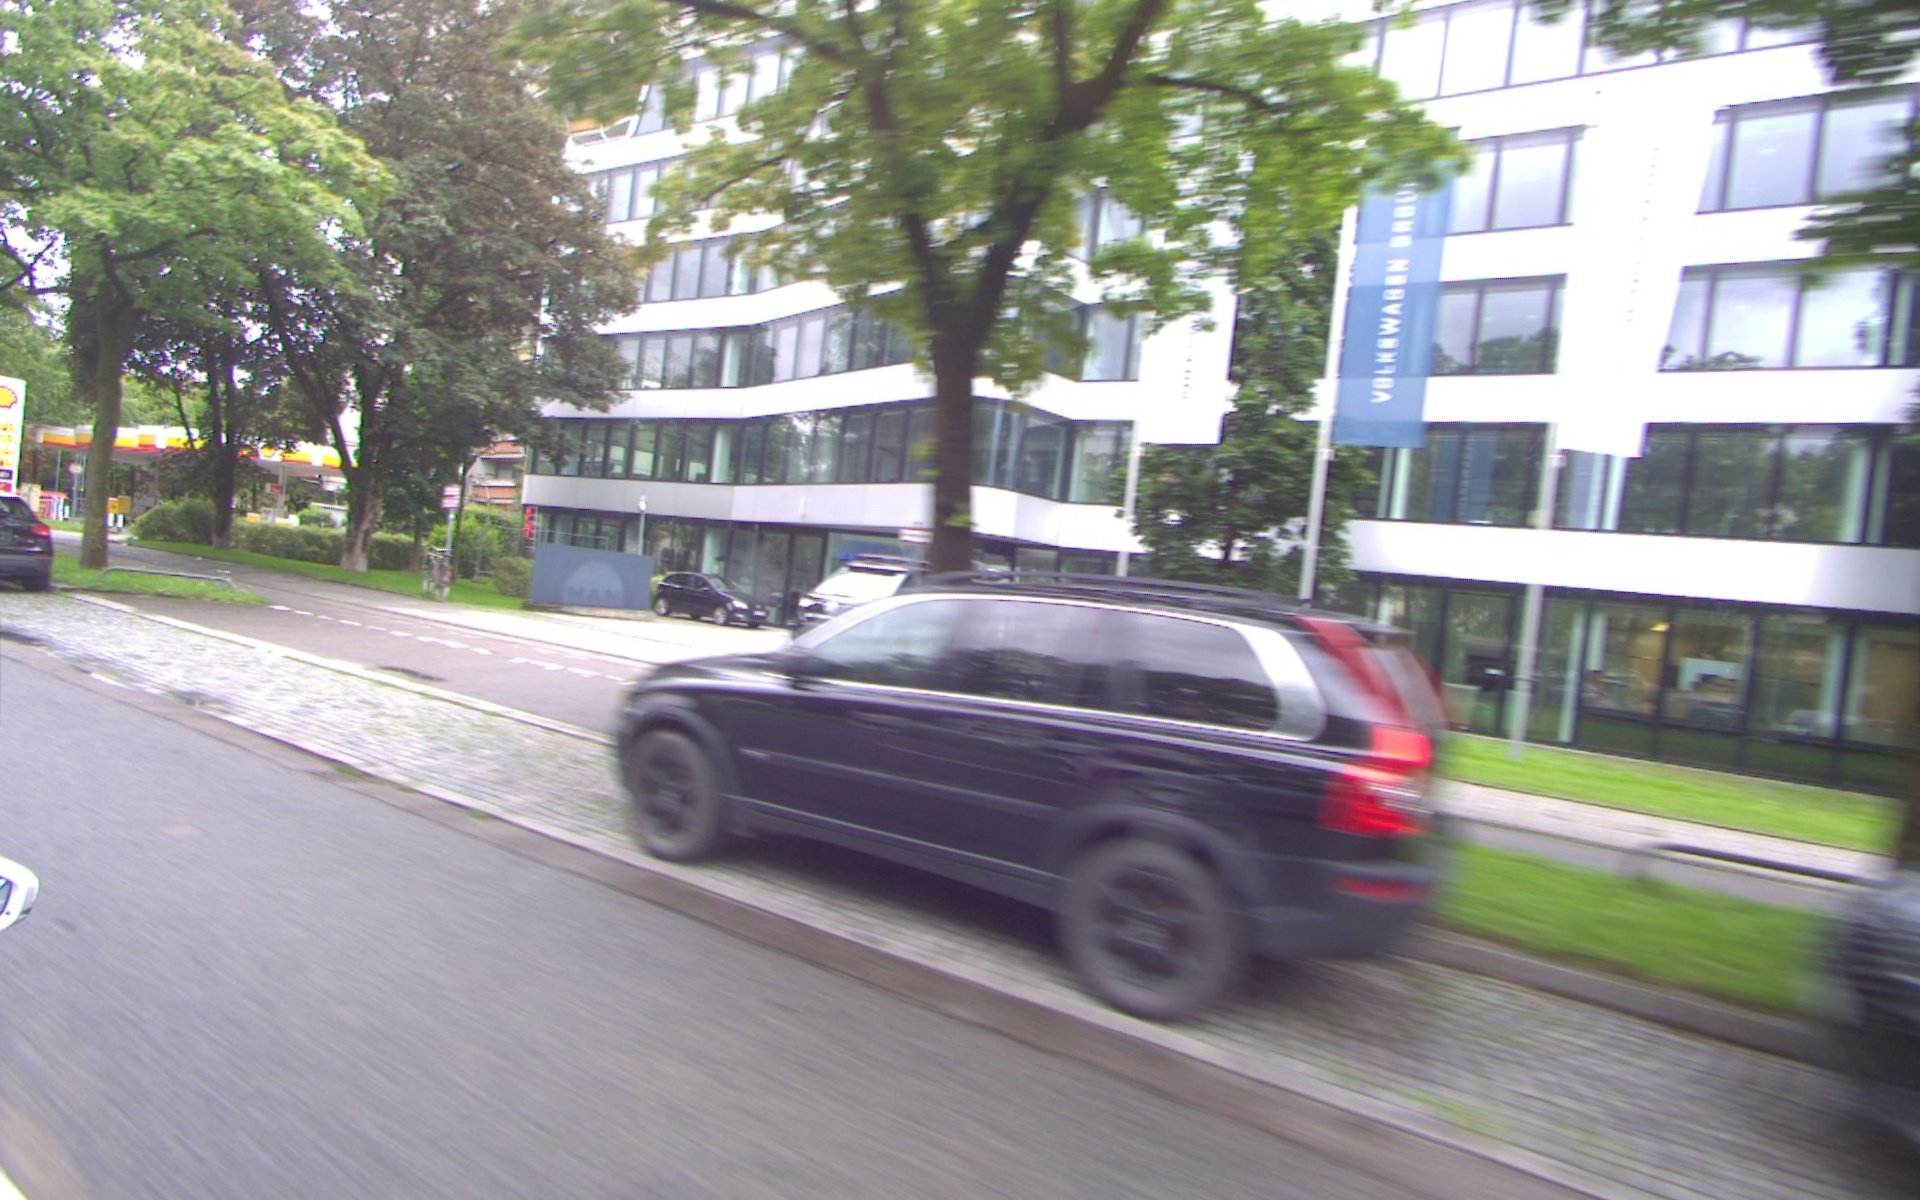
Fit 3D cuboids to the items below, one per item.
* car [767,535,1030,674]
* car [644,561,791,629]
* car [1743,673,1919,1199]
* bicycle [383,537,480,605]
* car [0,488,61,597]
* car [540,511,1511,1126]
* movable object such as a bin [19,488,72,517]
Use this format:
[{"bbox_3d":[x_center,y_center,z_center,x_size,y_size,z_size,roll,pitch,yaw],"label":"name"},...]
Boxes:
[{"bbox_3d":[-0.943,0.208,19.195,2.111,2.109,5.476,7,0,31],"label":"car"},{"bbox_3d":[-7.464,-0.147,30.913,3.981,1.567,2.021,7,1,31],"label":"car"},{"bbox_3d":[4.980,1.349,2.312,4.722,1.697,1.813,7,1,34],"label":"car"},{"bbox_3d":[-11.374,-0.634,21.625,2.209,1.198,0.749,7,1,32],"label":"bicycle"},{"bbox_3d":[-15.781,-1.048,15.559,4.215,1.531,1.779,7,2,34],"label":"car"},{"bbox_3d":[0.128,0.683,5.452,4.780,1.823,1.894,7,1,32],"label":"car"},{"bbox_3d":[-59.220,-6.310,65.160,1.807,1.505,2.062,7,1,32],"label":"movable object such as a bin"}]
